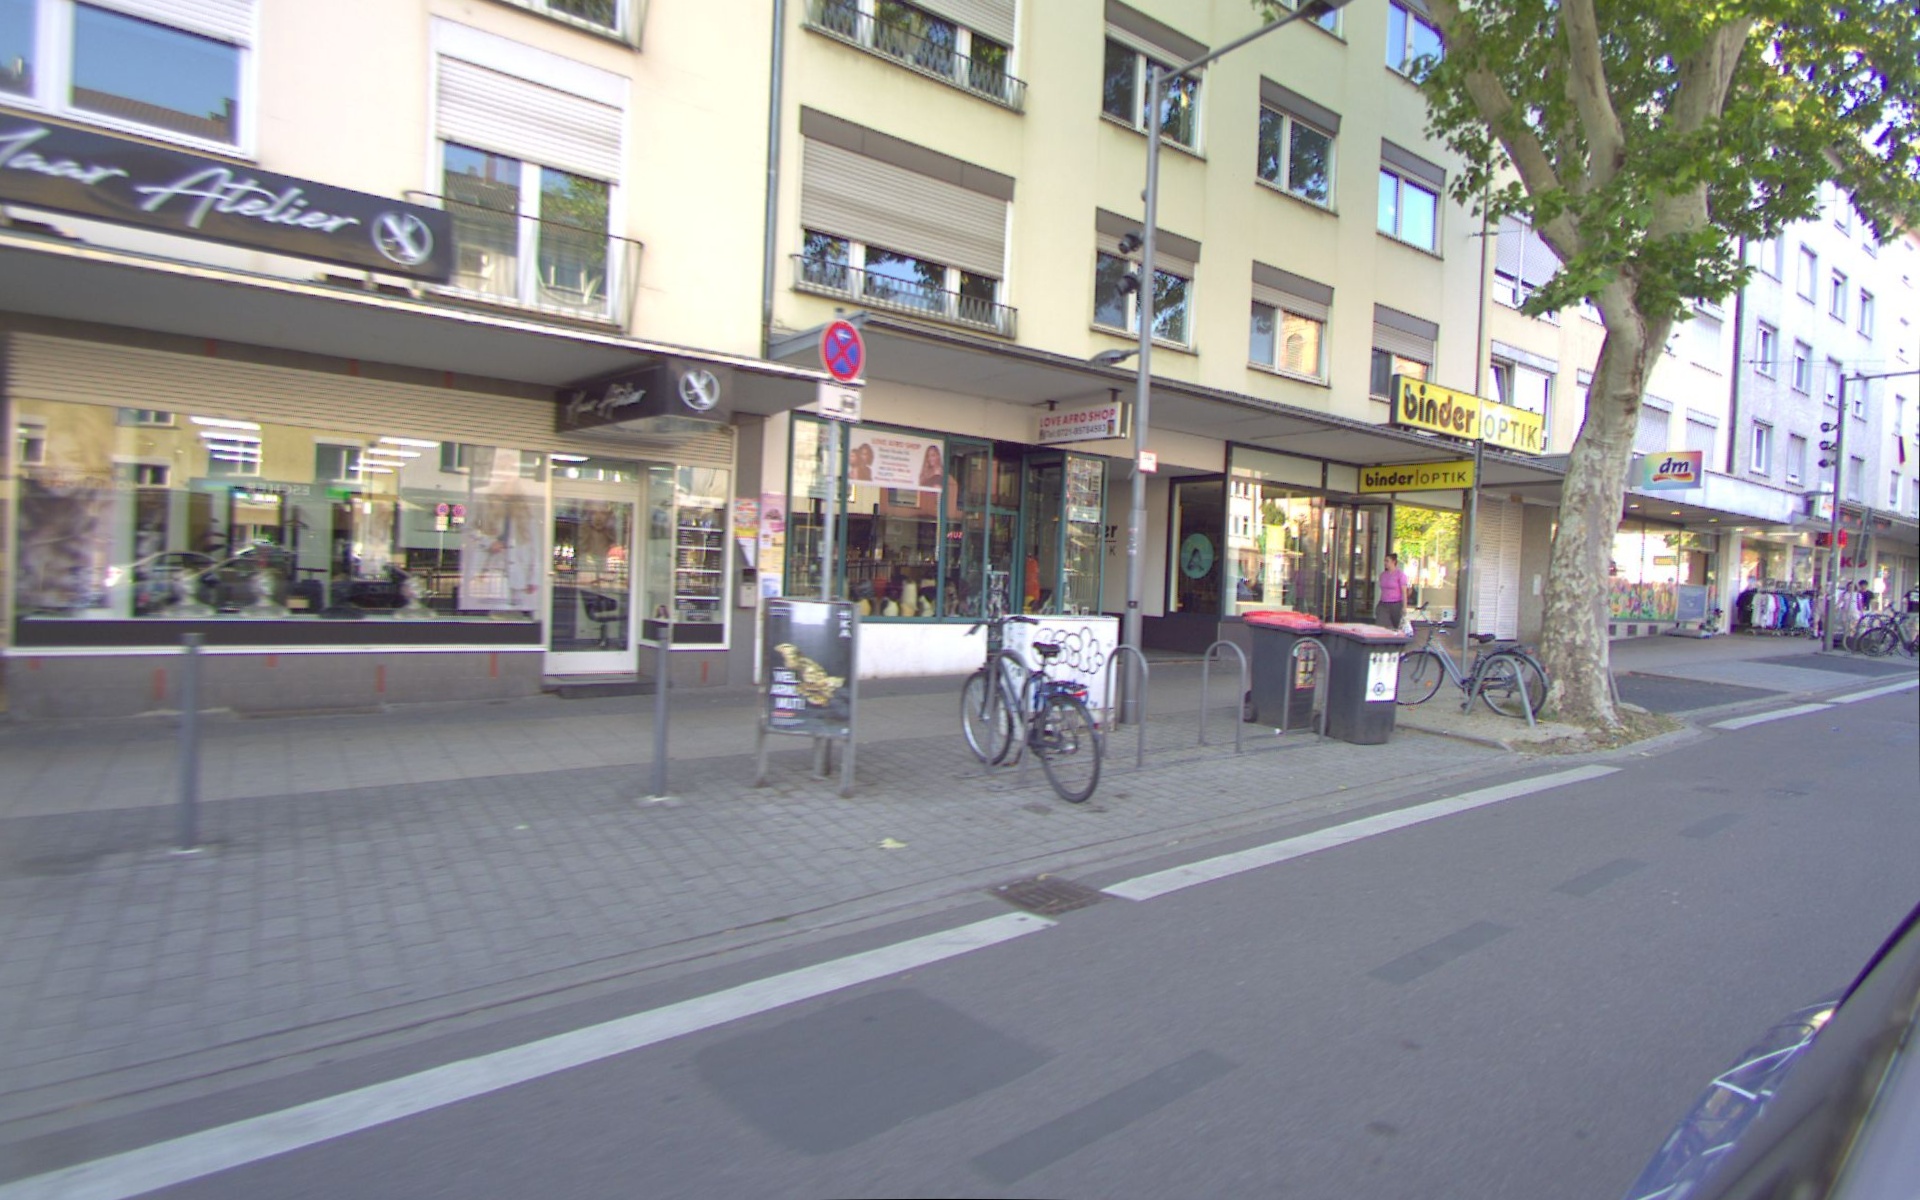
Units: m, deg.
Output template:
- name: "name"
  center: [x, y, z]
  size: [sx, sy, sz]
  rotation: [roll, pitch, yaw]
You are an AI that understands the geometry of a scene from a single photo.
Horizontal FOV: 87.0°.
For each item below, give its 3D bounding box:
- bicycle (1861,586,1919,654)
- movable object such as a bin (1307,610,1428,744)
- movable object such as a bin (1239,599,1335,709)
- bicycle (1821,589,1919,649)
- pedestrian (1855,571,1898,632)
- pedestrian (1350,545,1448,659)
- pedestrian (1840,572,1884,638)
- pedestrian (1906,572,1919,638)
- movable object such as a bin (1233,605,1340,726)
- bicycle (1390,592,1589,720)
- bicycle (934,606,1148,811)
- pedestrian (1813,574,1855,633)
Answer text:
- name: "bicycle"
  center: [20.799, 0.484, 21.809]
  size: [0.679, 1.326, 1.799]
  rotation: [2, 7, -24]
- name: "movable object such as a bin"
  center: [3.790, 0.688, 9.437]
  size: [0.631, 1.115, 0.726]
  rotation: [1, 6, -29]
- name: "movable object such as a bin"
  center: [3.481, 0.558, 10.815]
  size: [0.630, 1.085, 0.726]
  rotation: [1, 3, -17]
- name: "bicycle"
  center: [20.984, 0.434, 23.128]
  size: [1.777, 1.137, 0.658]
  rotation: [7, 6, 28]
- name: "pedestrian"
  center: [26.208, 0.045, 28.937]
  size: [1.049, 1.695, 0.570]
  rotation: [1, 4, -35]
- name: "pedestrian"
  center: [7.250, 0.007, 16.725]
  size: [1.112, 1.784, 0.971]
  rotation: [0, 3, -35]
- name: "pedestrian"
  center: [23.079, 0.130, 25.899]
  size: [0.878, 1.648, 0.548]
  rotation: [2, 3, -36]
- name: "pedestrian"
  center: [27.106, 0.161, 28.187]
  size: [0.913, 1.821, 0.777]
  rotation: [1, 4, -34]
- name: "movable object such as a bin"
  center: [3.246, 0.624, 10.085]
  size: [0.632, 1.084, 0.725]
  rotation: [0, 5, -38]
- name: "bicycle"
  center: [5.559, 0.535, 10.719]
  size: [0.732, 1.130, 1.724]
  rotation: [-4, 5, -35]
- name: "bicycle"
  center: [0.505, 0.689, 7.292]
  size: [0.508, 1.118, 1.917]
  rotation: [1, 4, -29]
- name: "pedestrian"
  center: [23.253, 0.100, 26.922]
  size: [0.878, 1.520, 0.543]
  rotation: [2, 3, -36]
